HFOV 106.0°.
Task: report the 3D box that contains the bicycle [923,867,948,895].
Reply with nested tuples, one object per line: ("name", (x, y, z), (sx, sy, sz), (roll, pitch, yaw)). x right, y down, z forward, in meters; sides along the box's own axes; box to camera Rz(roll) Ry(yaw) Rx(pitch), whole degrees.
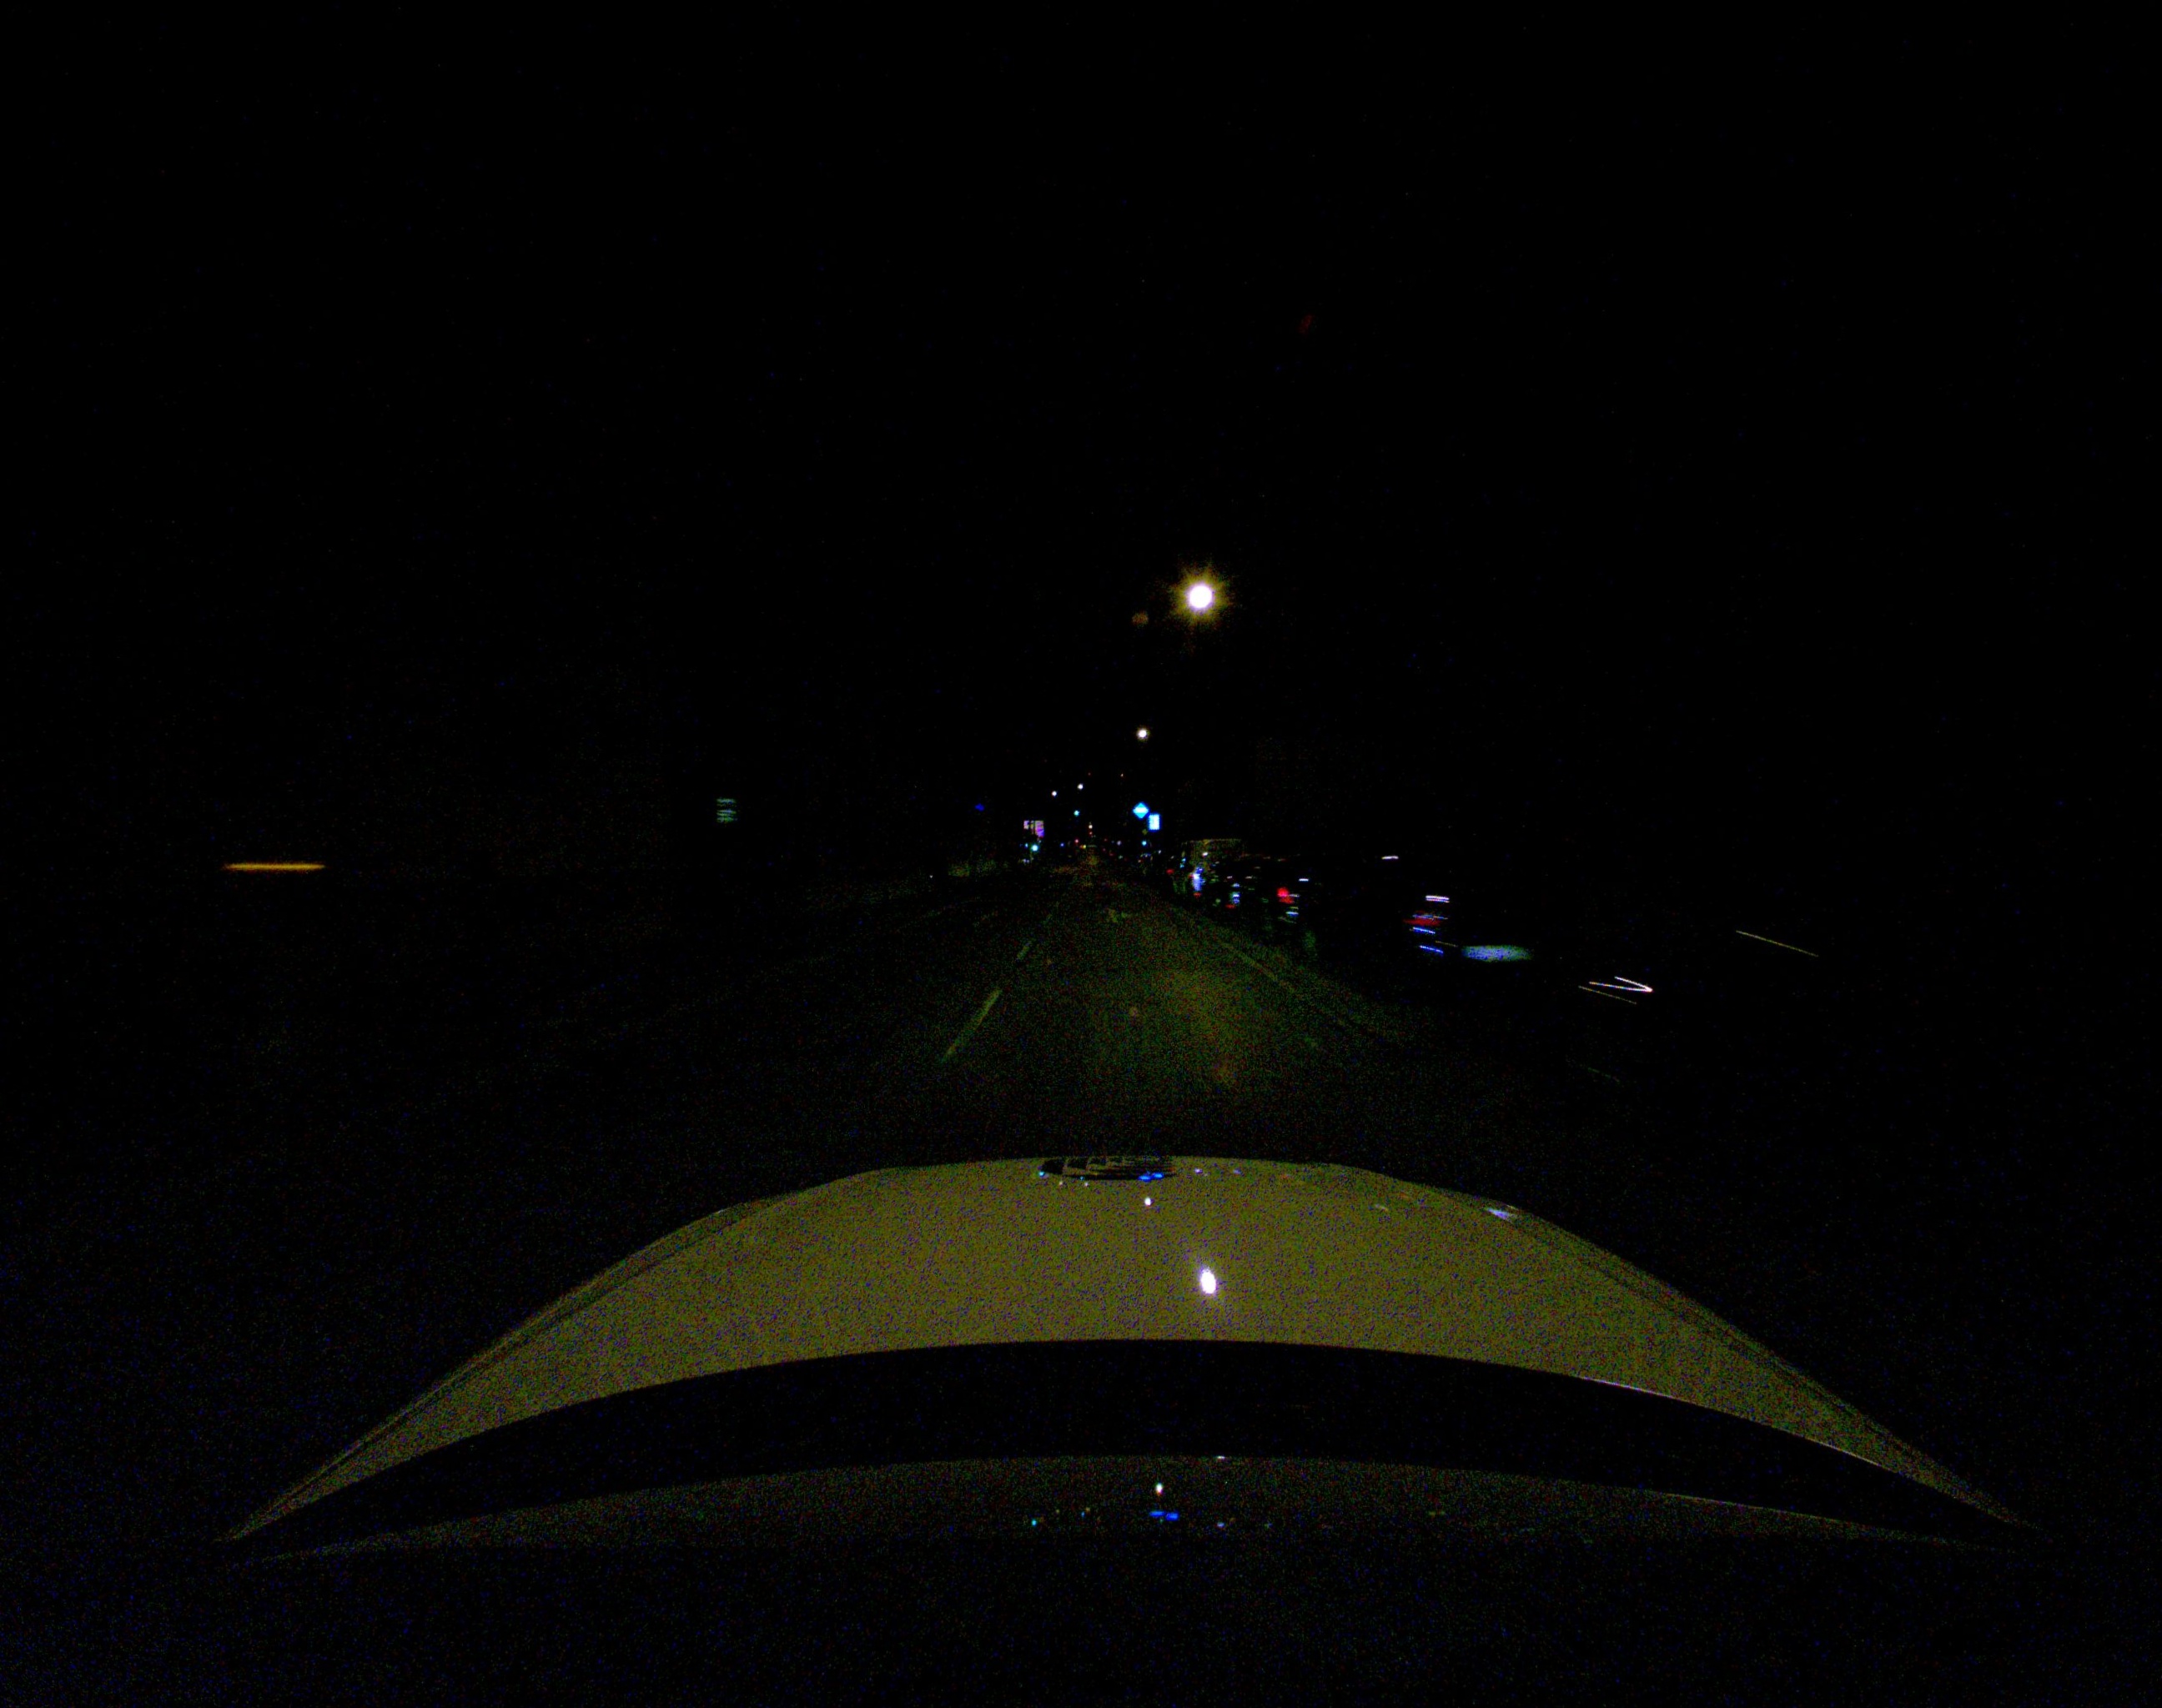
("bicycle", (-5.780, 1.061, 32.394), (0.617, 1.051, 1.722), (-1, -1, 1))

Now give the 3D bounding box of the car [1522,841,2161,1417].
("car", (3.593, 0.677, 2.847), (1.772, 1.426, 4.482), (-1, 0, 2))

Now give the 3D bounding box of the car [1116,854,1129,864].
("car", (6.074, 0.711, 119.586), (1.986, 1.516, 4.003), (-1, 0, 2))

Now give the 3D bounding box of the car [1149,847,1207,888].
("car", (4.067, 0.523, 34.858), (1.818, 1.588, 4.627), (-3, 0, 0))

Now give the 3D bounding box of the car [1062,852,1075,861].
("car", (-2.155, 0.463, 137.971), (1.986, 1.502, 4.000), (-1, 0, 1))

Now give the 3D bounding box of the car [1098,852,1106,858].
("car", (5.465, 0.248, 215.858), (1.986, 1.520, 4.002), (-1, 0, 2))

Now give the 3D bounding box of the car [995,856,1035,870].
("car", (-7.710, 1.043, 95.715), (4.424, 1.449, 2.000), (-1, -1, 0))

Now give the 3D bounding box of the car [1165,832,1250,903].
("car", (3.739, 0.360, 24.868), (1.794, 1.875, 4.773), (-3, 0, 0))

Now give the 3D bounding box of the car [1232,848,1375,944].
("car", (3.813, 0.667, 14.566), (1.589, 1.467, 3.720), (-1, 0, 1))

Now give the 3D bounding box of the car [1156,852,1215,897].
("car", (3.743, 0.695, 29.758), (1.808, 1.427, 4.193), (-3, 0, 4))

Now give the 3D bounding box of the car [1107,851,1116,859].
("car", (6.329, 0.160, 168.445), (1.986, 1.520, 4.002), (-1, 0, 2))

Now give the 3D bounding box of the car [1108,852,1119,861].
("car", (6.010, 0.428, 149.838), (1.986, 1.520, 4.002), (-1, 0, 2))

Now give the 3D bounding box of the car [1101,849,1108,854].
("car", (6.802, -0.722, 238.846), (1.986, 1.520, 4.002), (-1, 0, 2))

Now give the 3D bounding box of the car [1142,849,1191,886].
("car", (4.116, 0.626, 39.841), (1.818, 1.623, 4.455), (-3, 0, -1))

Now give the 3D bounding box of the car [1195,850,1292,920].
("car", (3.748, 0.671, 19.349), (1.589, 1.467, 3.893), (-1, 0, 1))

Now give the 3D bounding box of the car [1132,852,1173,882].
("car", (3.960, 0.701, 45.629), (1.770, 1.544, 4.543), (-1, 0, -2))

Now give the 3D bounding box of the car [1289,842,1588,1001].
("car", (3.811, 0.638, 9.500), (1.773, 1.426, 3.891), (-1, 0, 0))

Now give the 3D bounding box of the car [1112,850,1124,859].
("car", (6.504, 0.159, 143.525), (1.986, 1.520, 4.002), (-1, 0, 2))

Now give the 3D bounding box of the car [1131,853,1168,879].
("car", (4.319, 0.752, 51.863), (1.855, 1.489, 4.543), (-1, 0, -2))
